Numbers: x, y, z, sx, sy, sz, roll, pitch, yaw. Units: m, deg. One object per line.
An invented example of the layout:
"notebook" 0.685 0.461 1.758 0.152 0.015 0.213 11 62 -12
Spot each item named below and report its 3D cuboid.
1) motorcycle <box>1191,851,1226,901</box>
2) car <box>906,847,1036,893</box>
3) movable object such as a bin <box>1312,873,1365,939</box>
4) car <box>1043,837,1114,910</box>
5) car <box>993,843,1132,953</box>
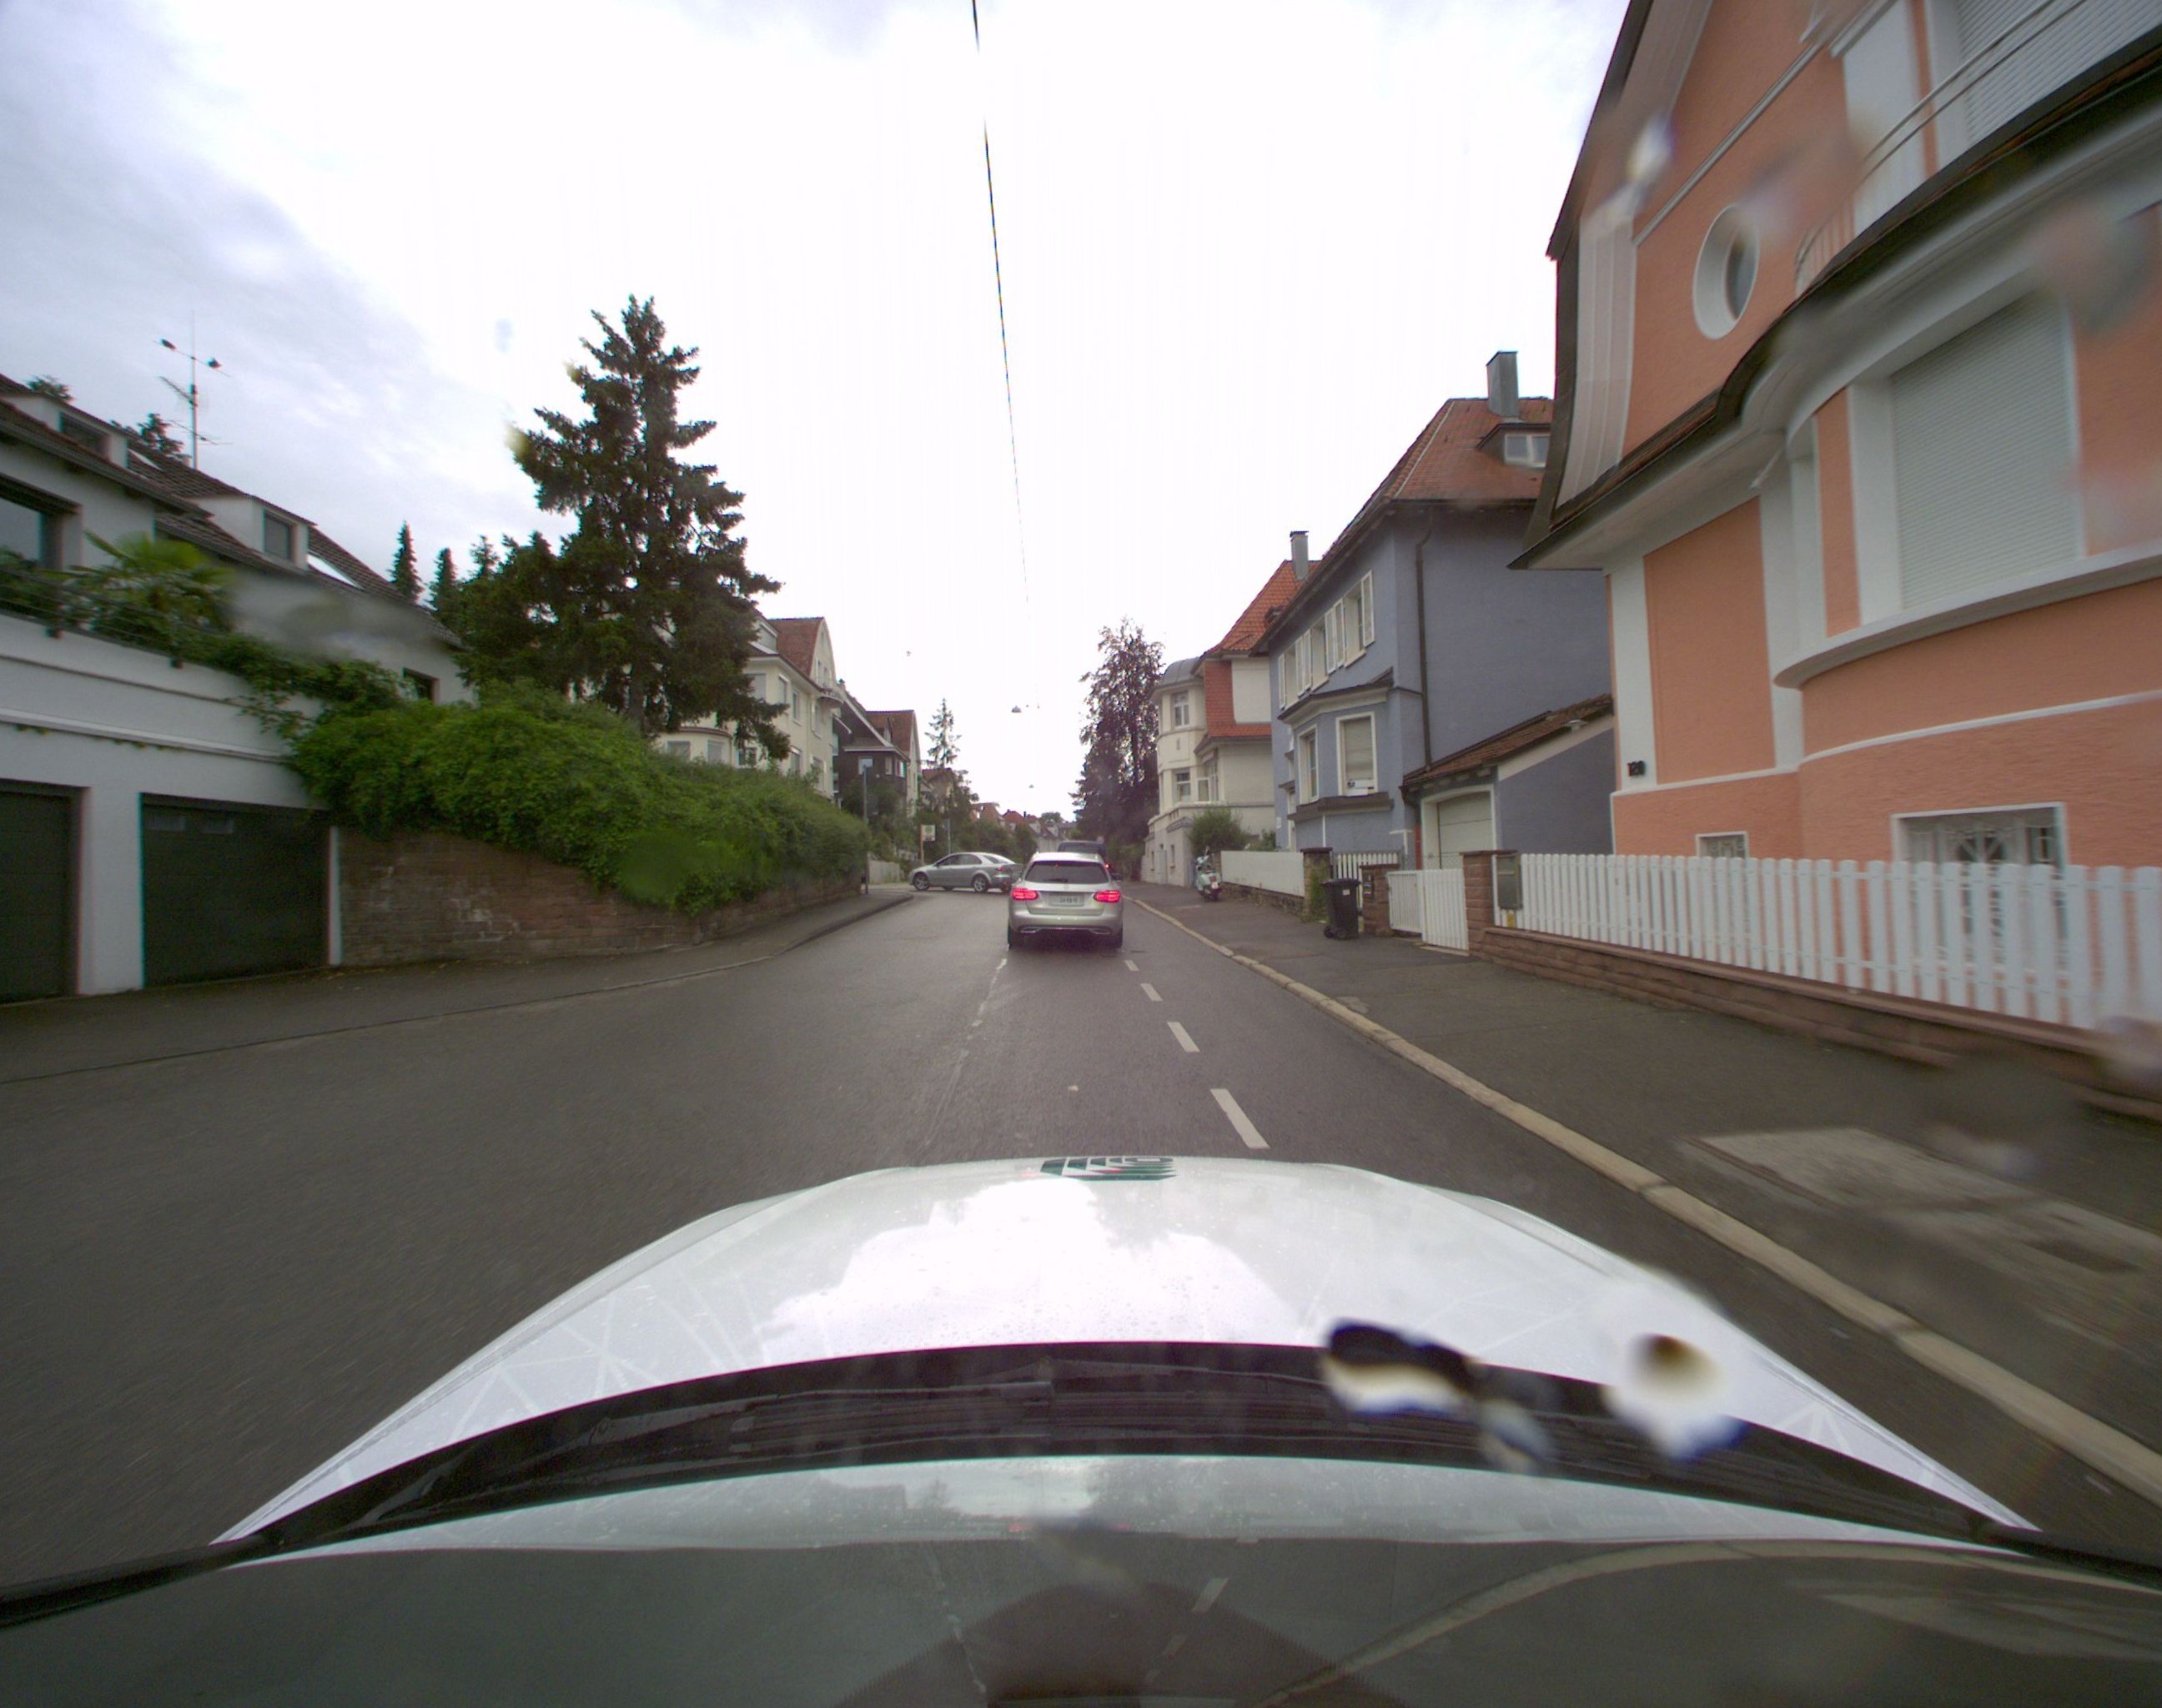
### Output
"motorcycle" 3.465 0.562 22.326 0.579 1.261 2.332 -3 0 2
"car" -3.989 0.546 29.434 4.277 1.539 2.012 0 0 29
"movable object such as a bin" 3.981 0.787 12.623 0.547 0.936 0.633 -4 0 -2
"car" -0.026 0.496 24.032 1.818 1.882 4.096 -2 1 1
"car" -0.265 0.607 13.787 1.976 1.553 4.297 -1 0 0
